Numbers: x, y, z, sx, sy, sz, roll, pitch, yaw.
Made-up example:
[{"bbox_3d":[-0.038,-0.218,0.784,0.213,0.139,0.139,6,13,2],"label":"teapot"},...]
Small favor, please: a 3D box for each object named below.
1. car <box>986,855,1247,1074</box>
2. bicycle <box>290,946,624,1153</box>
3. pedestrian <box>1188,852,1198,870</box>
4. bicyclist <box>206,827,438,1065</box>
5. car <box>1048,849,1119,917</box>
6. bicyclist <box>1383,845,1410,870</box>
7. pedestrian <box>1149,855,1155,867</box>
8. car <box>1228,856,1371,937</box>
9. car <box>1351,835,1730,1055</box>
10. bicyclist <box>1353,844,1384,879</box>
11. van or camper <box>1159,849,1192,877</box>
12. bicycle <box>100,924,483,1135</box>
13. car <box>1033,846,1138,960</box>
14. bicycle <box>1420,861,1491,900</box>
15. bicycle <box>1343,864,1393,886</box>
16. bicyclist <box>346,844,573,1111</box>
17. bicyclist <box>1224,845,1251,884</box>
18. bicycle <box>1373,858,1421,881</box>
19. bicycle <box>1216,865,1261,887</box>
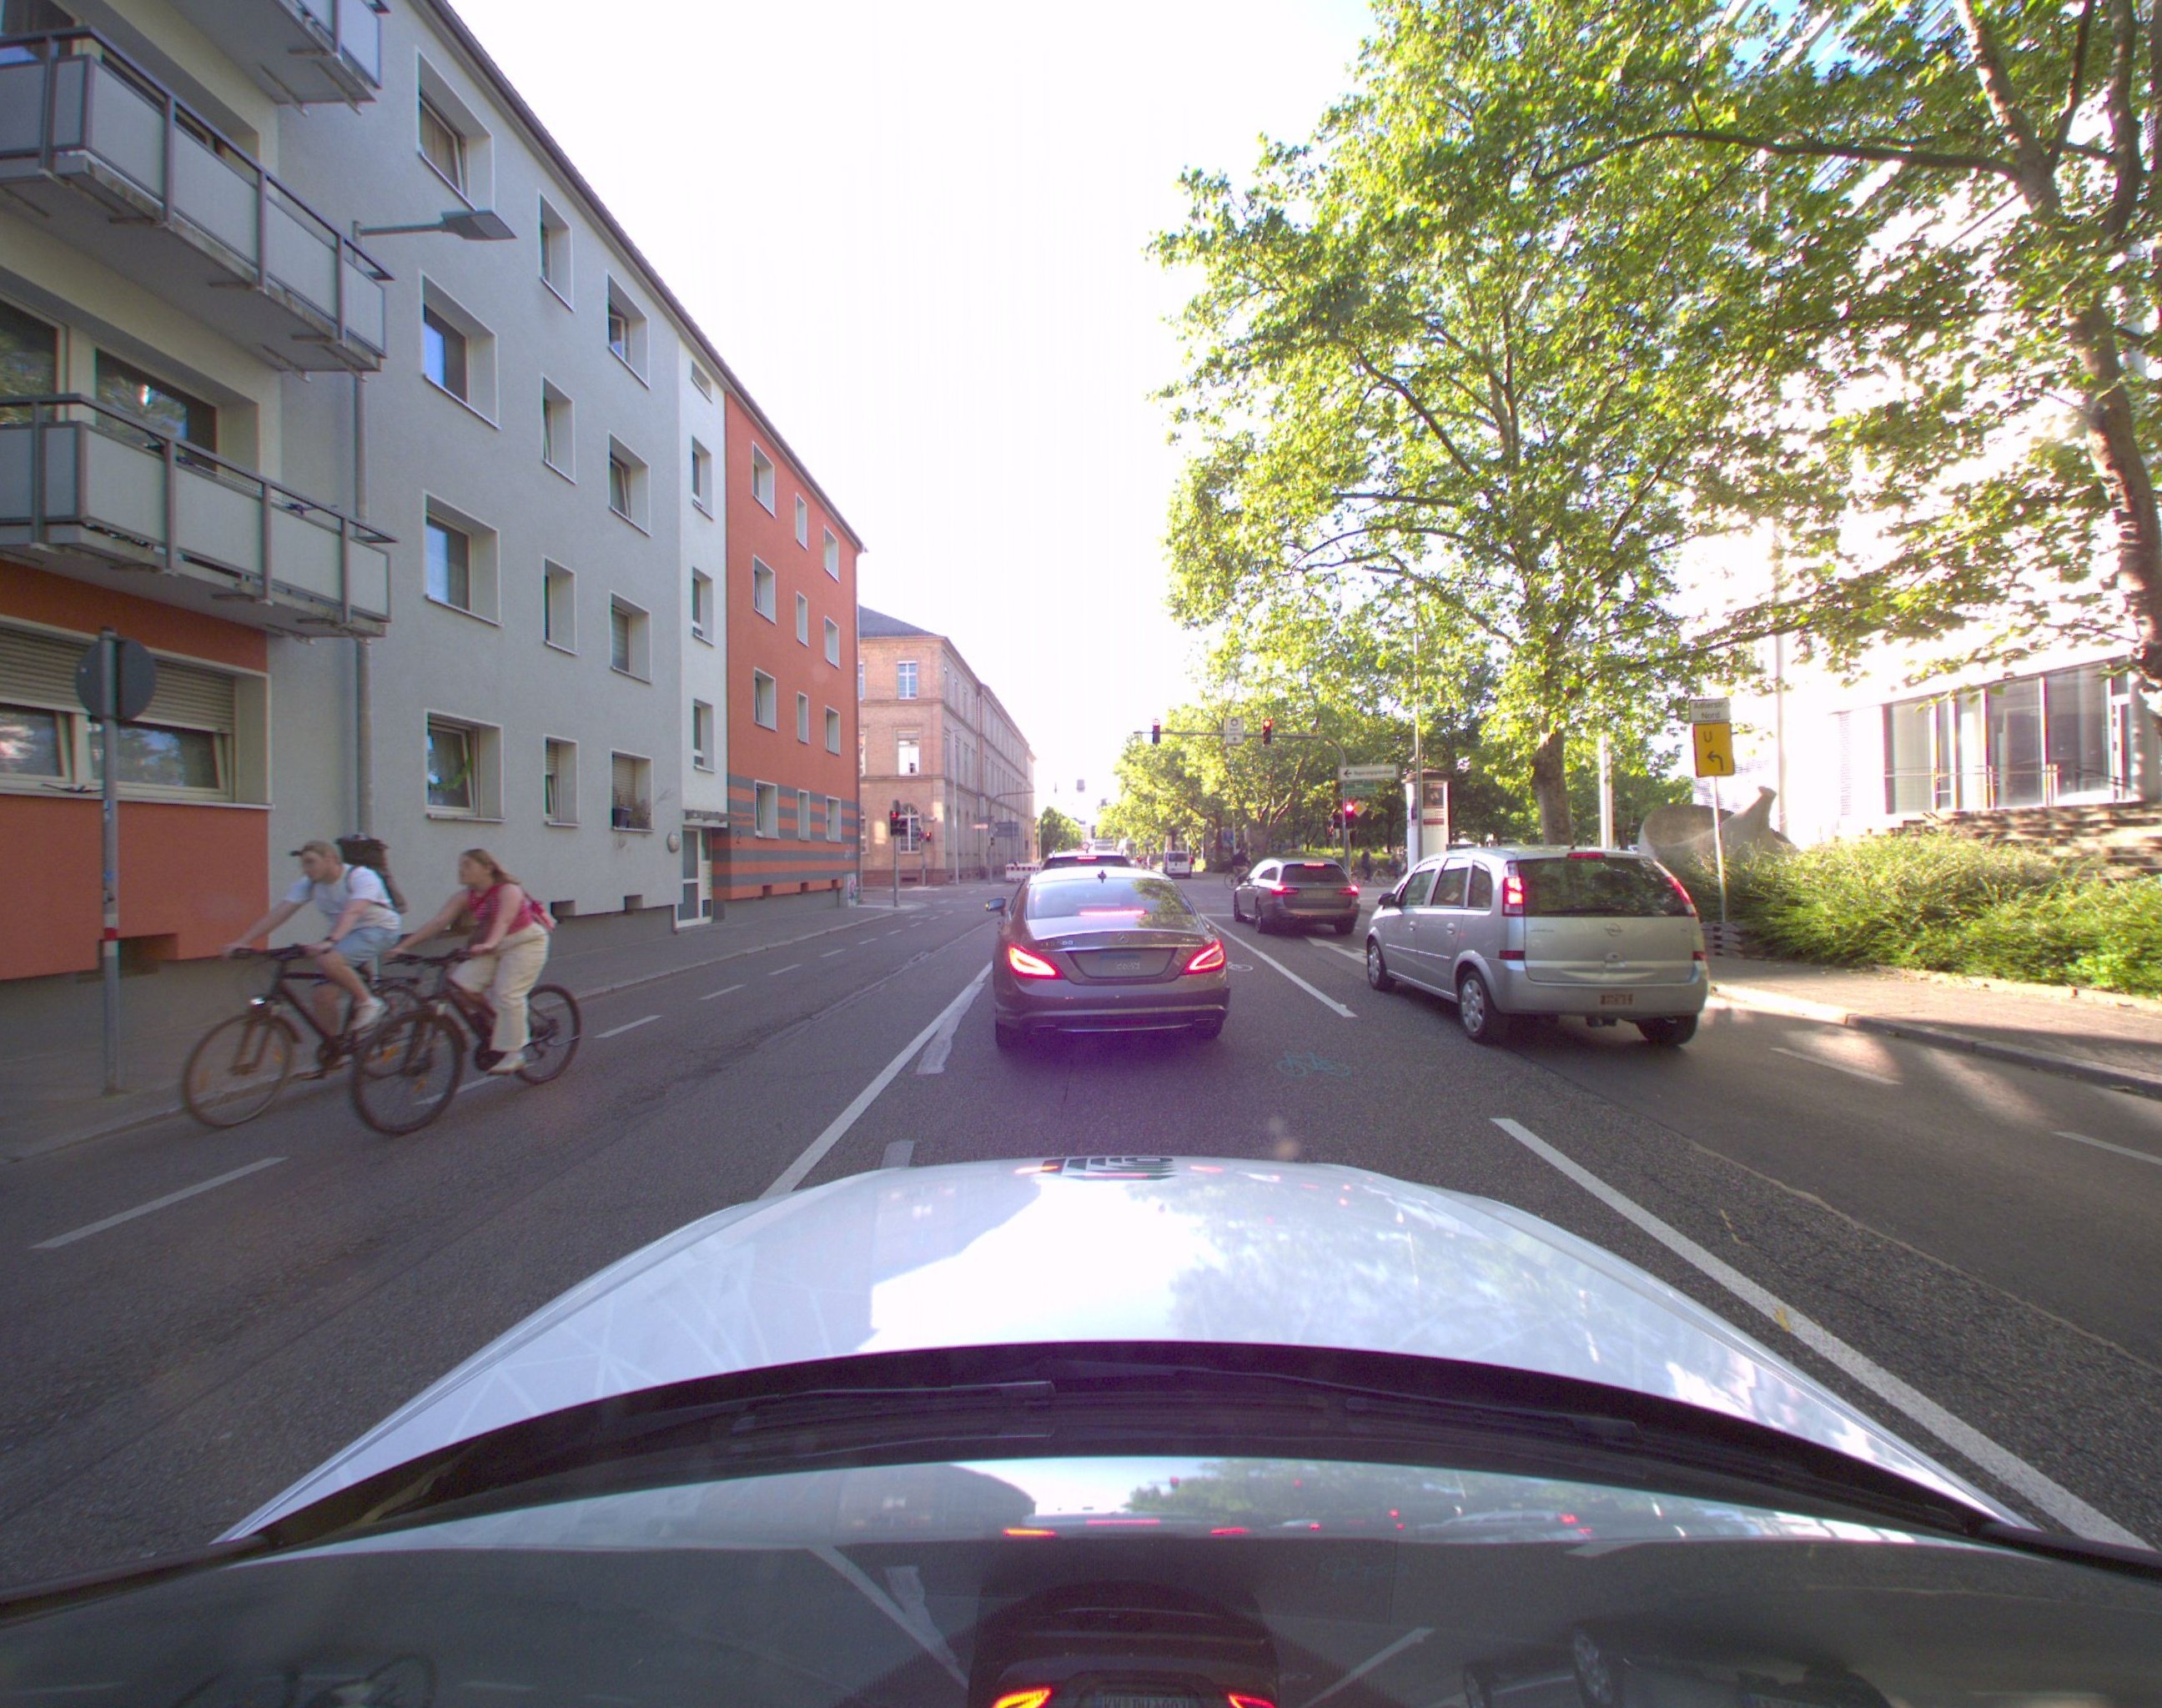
[{"bbox_3d":[0.066,0.755,7.774,1.801,1.456,4.342,-1,0,-5],"label":"car"},{"bbox_3d":[-3.984,1.192,5.442,0.690,0.929,1.865,-1,0,4],"label":"bicycle"},{"bbox_3d":[10.442,0.662,75.824,0.827,1.606,0.652,-1,0,1],"label":"pedestrian"},{"bbox_3d":[-5.346,0.610,5.798,0.839,1.555,0.840,-1,0,2],"label":"bicyclist"},{"bbox_3d":[0.130,0.769,23.384,1.813,1.762,4.002,-1,0,2],"label":"car"},{"bbox_3d":[14.666,0.151,37.847,0.987,1.154,0.621,-1,0,3],"label":"bicyclist"},{"bbox_3d":[8.587,0.865,99.071,0.646,1.433,0.659,-1,0,1],"label":"pedestrian"},{"bbox_3d":[4.409,0.770,17.174,1.906,1.464,4.671,0,0,2],"label":"car"},{"bbox_3d":[4.002,0.675,7.911,1.694,1.603,3.863,-1,0,4],"label":"car"},{"bbox_3d":[12.727,0.324,36.085,1.113,1.490,0.712,-1,0,1],"label":"bicyclist"},{"bbox_3d":[6.729,0.635,58.381,1.986,1.941,4.596,-1,0,1],"label":"van or camper"},{"bbox_3d":[-5.334,1.116,5.723,0.859,1.079,1.837,-1,0,2],"label":"bicycle"},{"bbox_3d":[0.063,0.711,13.789,1.513,1.647,3.879,-1,0,0],"label":"car"},{"bbox_3d":[10.822,0.768,23.565,1.796,1.097,0.510,-1,0,4],"label":"bicycle"},{"bbox_3d":[12.704,0.919,36.091,1.979,0.903,0.734,-1,0,0],"label":"bicycle"},{"bbox_3d":[-4.008,0.737,5.336,0.682,1.578,0.983,-1,0,4],"label":"bicyclist"},{"bbox_3d":[6.701,0.443,34.937,1.013,1.642,0.607,-1,0,-4],"label":"bicyclist"},{"bbox_3d":[14.691,0.720,37.840,1.972,1.027,0.652,-1,0,2],"label":"bicycle"},{"bbox_3d":[6.738,0.938,34.936,1.791,0.946,0.613,-1,0,-5],"label":"bicycle"}]
